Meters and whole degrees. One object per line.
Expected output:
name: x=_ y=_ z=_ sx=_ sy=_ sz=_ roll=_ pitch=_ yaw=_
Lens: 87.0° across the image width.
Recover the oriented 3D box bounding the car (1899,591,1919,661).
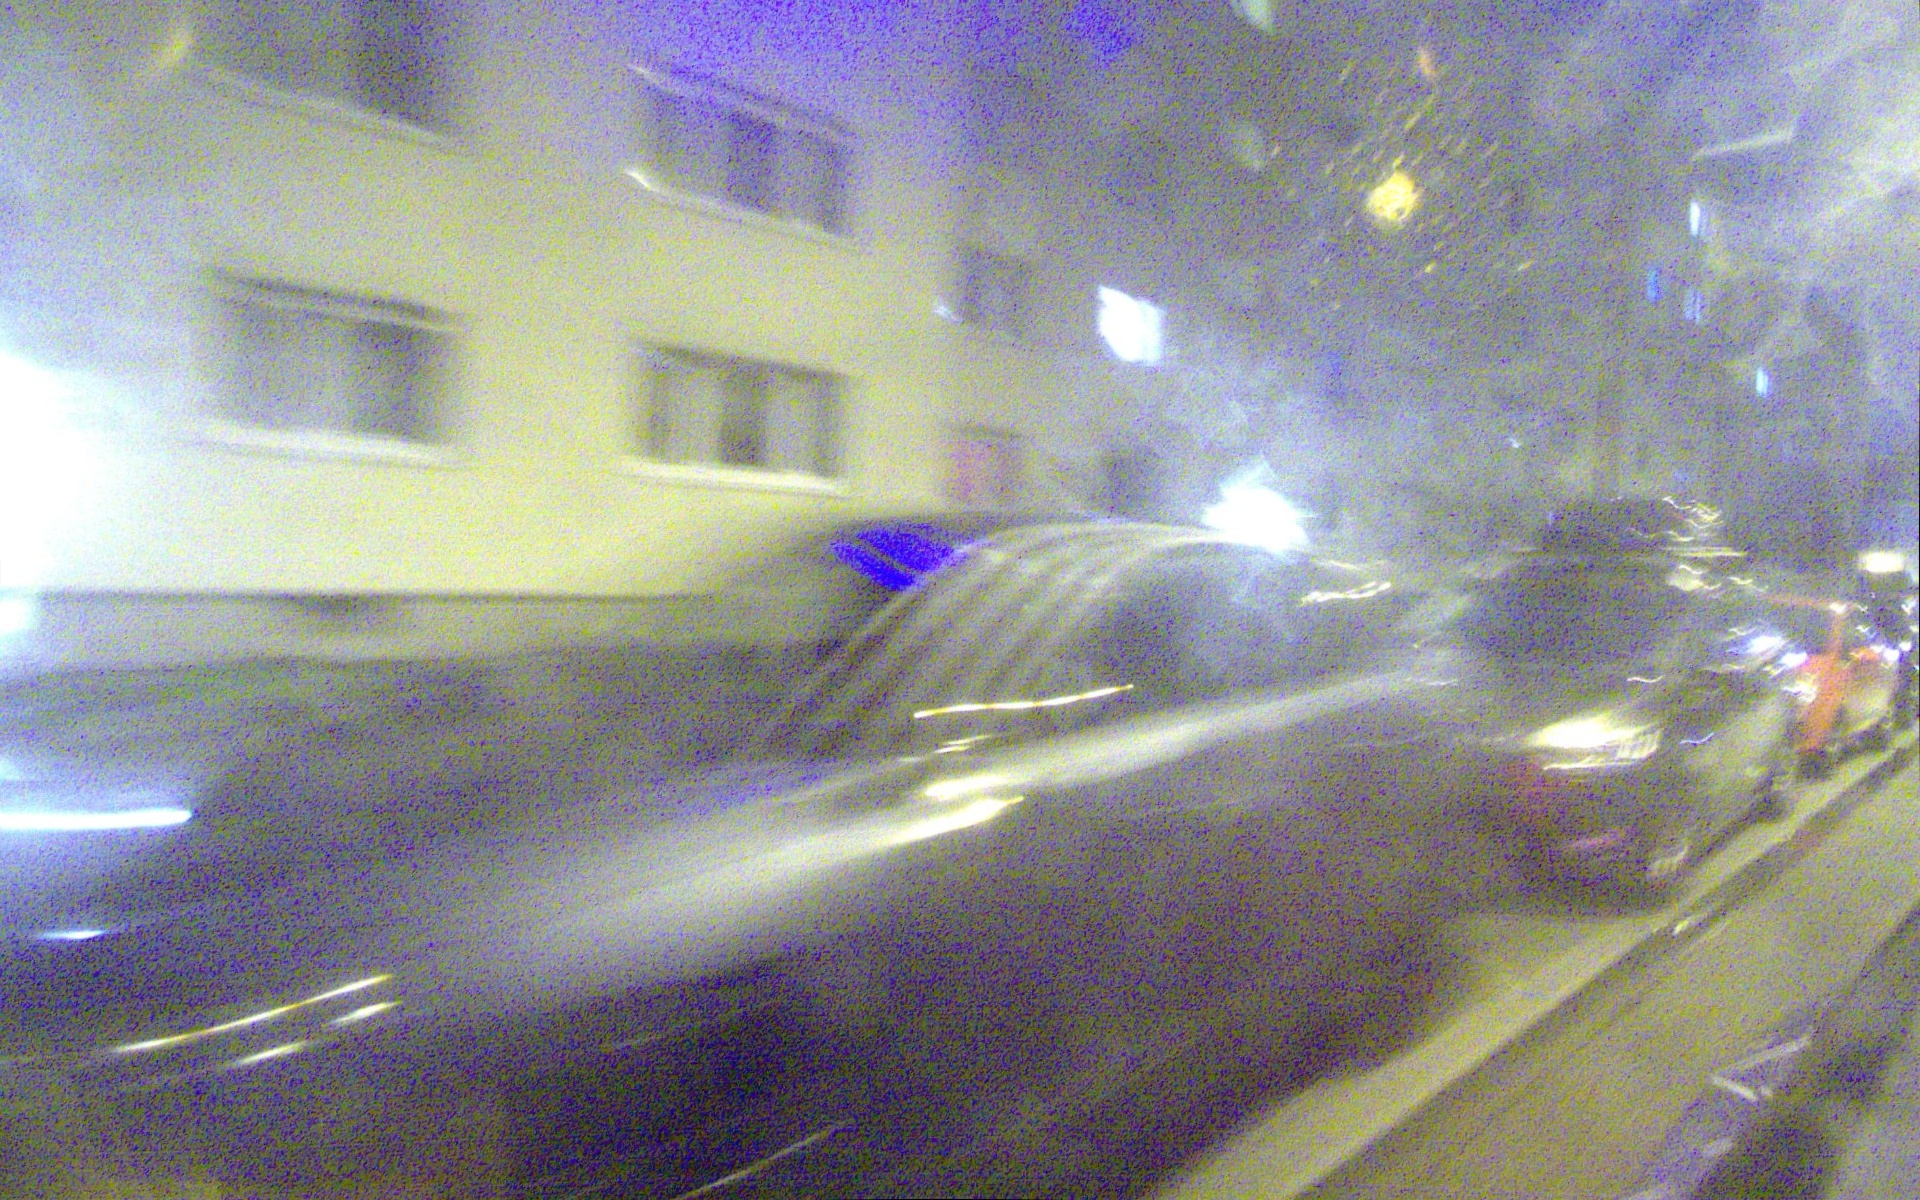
car: x=22.556 y=0.601 z=22.717 sx=4.207 sy=1.464 sz=1.798 roll=-1 pitch=4 yaw=-43

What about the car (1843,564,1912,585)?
car: x=69.941 y=-1.957 z=77.182 sx=1.636 sy=1.474 sz=3.663 roll=0 pitch=4 yaw=-40

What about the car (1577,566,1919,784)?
car: x=7.772 y=0.528 z=9.643 sx=4.273 sy=1.566 sz=1.830 roll=0 pitch=4 yaw=-39

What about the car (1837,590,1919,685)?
car: x=15.362 y=0.554 z=16.268 sx=3.567 sy=1.322 sz=1.458 roll=-1 pitch=4 yaw=-43

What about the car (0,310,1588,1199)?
car: x=-0.009 y=0.495 z=2.892 sx=4.411 sy=1.657 sz=1.826 roll=-1 pitch=4 yaw=-42

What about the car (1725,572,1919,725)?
car: x=11.674 y=0.481 z=13.040 sx=4.889 sy=1.566 sz=1.759 roll=-1 pitch=4 yaw=-40

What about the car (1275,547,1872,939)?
car: x=4.171 y=0.522 z=6.421 sx=4.965 sy=1.549 sz=1.803 roll=-1 pitch=4 yaw=-42

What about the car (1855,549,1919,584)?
car: x=75.479 y=-2.697 z=81.952 sx=1.767 sy=2.650 sz=4.031 roll=0 pitch=3 yaw=-34

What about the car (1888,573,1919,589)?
car: x=85.068 y=-1.646 z=89.539 sx=1.767 sy=1.283 sz=4.031 roll=0 pitch=4 yaw=-34

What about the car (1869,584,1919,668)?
car: x=19.204 y=0.483 z=19.799 sx=4.207 sy=1.505 sz=1.677 roll=-1 pitch=4 yaw=-43
